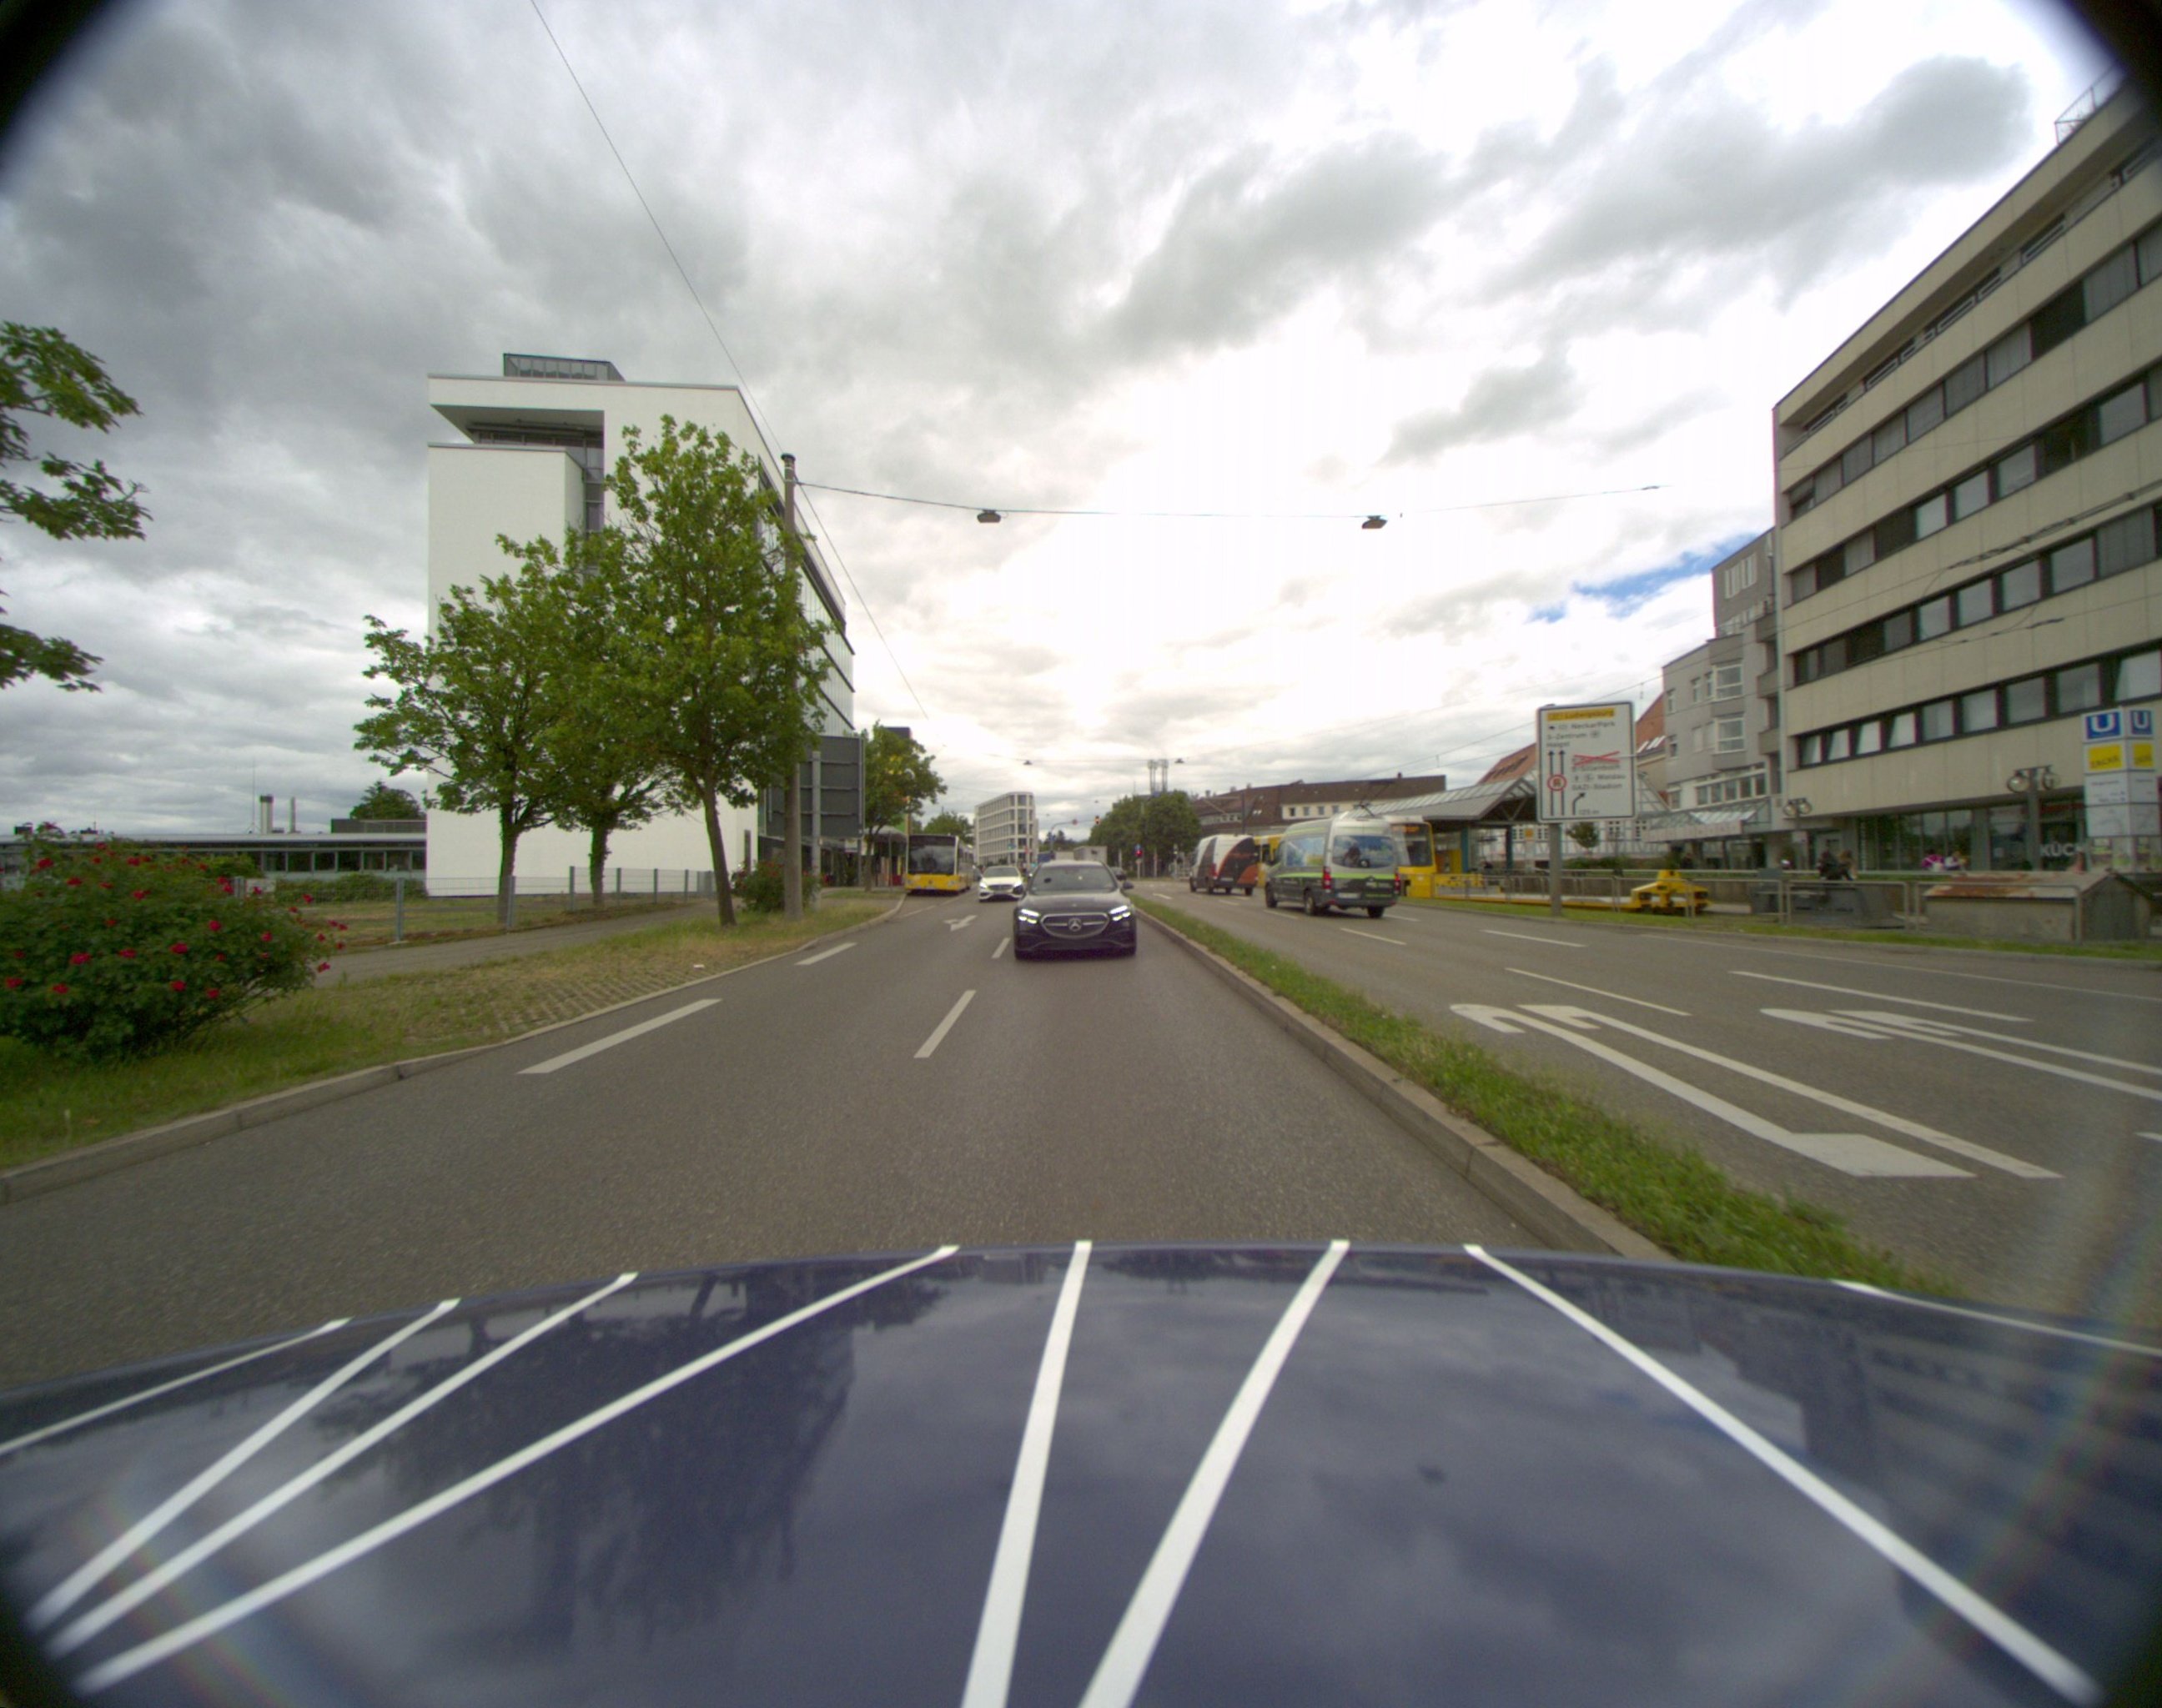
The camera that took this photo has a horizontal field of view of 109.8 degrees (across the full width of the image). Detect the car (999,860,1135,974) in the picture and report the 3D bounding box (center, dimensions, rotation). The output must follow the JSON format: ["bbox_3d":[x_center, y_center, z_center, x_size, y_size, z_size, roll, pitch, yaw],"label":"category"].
[{"bbox_3d":[-0.050,0.941,13.368,1.872,1.542,4.775,-4,-1,4],"label":"car"}]

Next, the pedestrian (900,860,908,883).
[{"bbox_3d":[-13.107,1.287,56.342,0.510,1.725,0.572,-1,0,-7],"label":"pedestrian"}]

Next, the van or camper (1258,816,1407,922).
[{"bbox_3d":[6.930,0.391,21.834,2.038,2.583,6.115,1,0,-2],"label":"van or camper"}]

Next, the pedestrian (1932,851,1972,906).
[{"bbox_3d":[27.277,0.765,23.795,0.550,1.690,0.628,0,0,-4],"label":"pedestrian"}]

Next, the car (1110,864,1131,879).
[{"bbox_3d":[3.775,1.655,72.926,1.510,1.337,3.948,1,-1,-3],"label":"car"}]

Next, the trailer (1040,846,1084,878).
[{"bbox_3d":[-2.896,1.246,107.378,3.114,4.243,14.832,0,-1,-13],"label":"trailer"}]

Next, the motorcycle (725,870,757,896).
[{"bbox_3d":[-14.792,1.250,33.006,0.826,1.108,1.737,0,-1,-39],"label":"motorcycle"}]

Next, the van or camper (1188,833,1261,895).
[{"bbox_3d":[6.512,0.443,35.199,1.999,2.583,6.115,1,0,-2],"label":"van or camper"}]

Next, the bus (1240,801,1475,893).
[{"bbox_3d":[13.661,-0.193,41.472,3.889,3.836,19.332,0,0,-6],"label":"bus"}]

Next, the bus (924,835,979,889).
[{"bbox_3d":[-8.358,0.540,49.984,3.045,3.216,9.333,0,0,-6],"label":"bus"}]

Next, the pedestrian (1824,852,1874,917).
[{"bbox_3d":[18.805,0.736,18.618,0.600,1.564,0.620,0,0,-5],"label":"pedestrian"}]

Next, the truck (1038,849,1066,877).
[{"bbox_3d":[-4.336,1.423,113.616,3.102,3.997,6.150,-1,-1,-12],"label":"truck"}]

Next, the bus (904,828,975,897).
[{"bbox_3d":[-7.368,0.435,40.835,2.991,3.222,9.860,-1,0,-6],"label":"bus"}]

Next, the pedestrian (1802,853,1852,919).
[{"bbox_3d":[18.135,0.775,18.470,0.600,1.564,0.620,0,0,-5],"label":"pedestrian"}]

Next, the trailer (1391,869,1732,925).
[{"bbox_3d":[14.971,1.224,25.749,2.849,1.325,12.120,0,-1,-6],"label":"trailer"}]

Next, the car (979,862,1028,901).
[{"bbox_3d":[-3.267,1.099,31.947,1.873,1.496,4.771,-1,-1,-6],"label":"car"}]

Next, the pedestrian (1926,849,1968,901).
[{"bbox_3d":[28.766,0.700,25.234,0.693,1.690,0.628,0,0,-4],"label":"pedestrian"}]

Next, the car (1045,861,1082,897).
[{"bbox_3d":[-0.933,1.209,38.536,1.735,1.680,4.368,-1,0,-3],"label":"car"}]

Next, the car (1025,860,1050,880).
[{"bbox_3d":[-3.558,1.296,62.258,1.735,1.474,4.369,-1,0,0],"label":"car"}]

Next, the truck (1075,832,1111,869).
[{"bbox_3d":[1.285,-0.303,87.221,2.947,3.934,9.160,-1,-1,-6],"label":"truck"}]

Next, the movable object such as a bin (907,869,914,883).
[{"bbox_3d":[-12.704,1.627,56.593,0.421,1.023,0.532,-1,0,-7],"label":"movable object such as a bin"}]

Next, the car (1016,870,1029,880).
[{"bbox_3d":[-9.570,3.422,124.135,1.792,1.507,4.361,-1,-1,-9],"label":"car"}]
